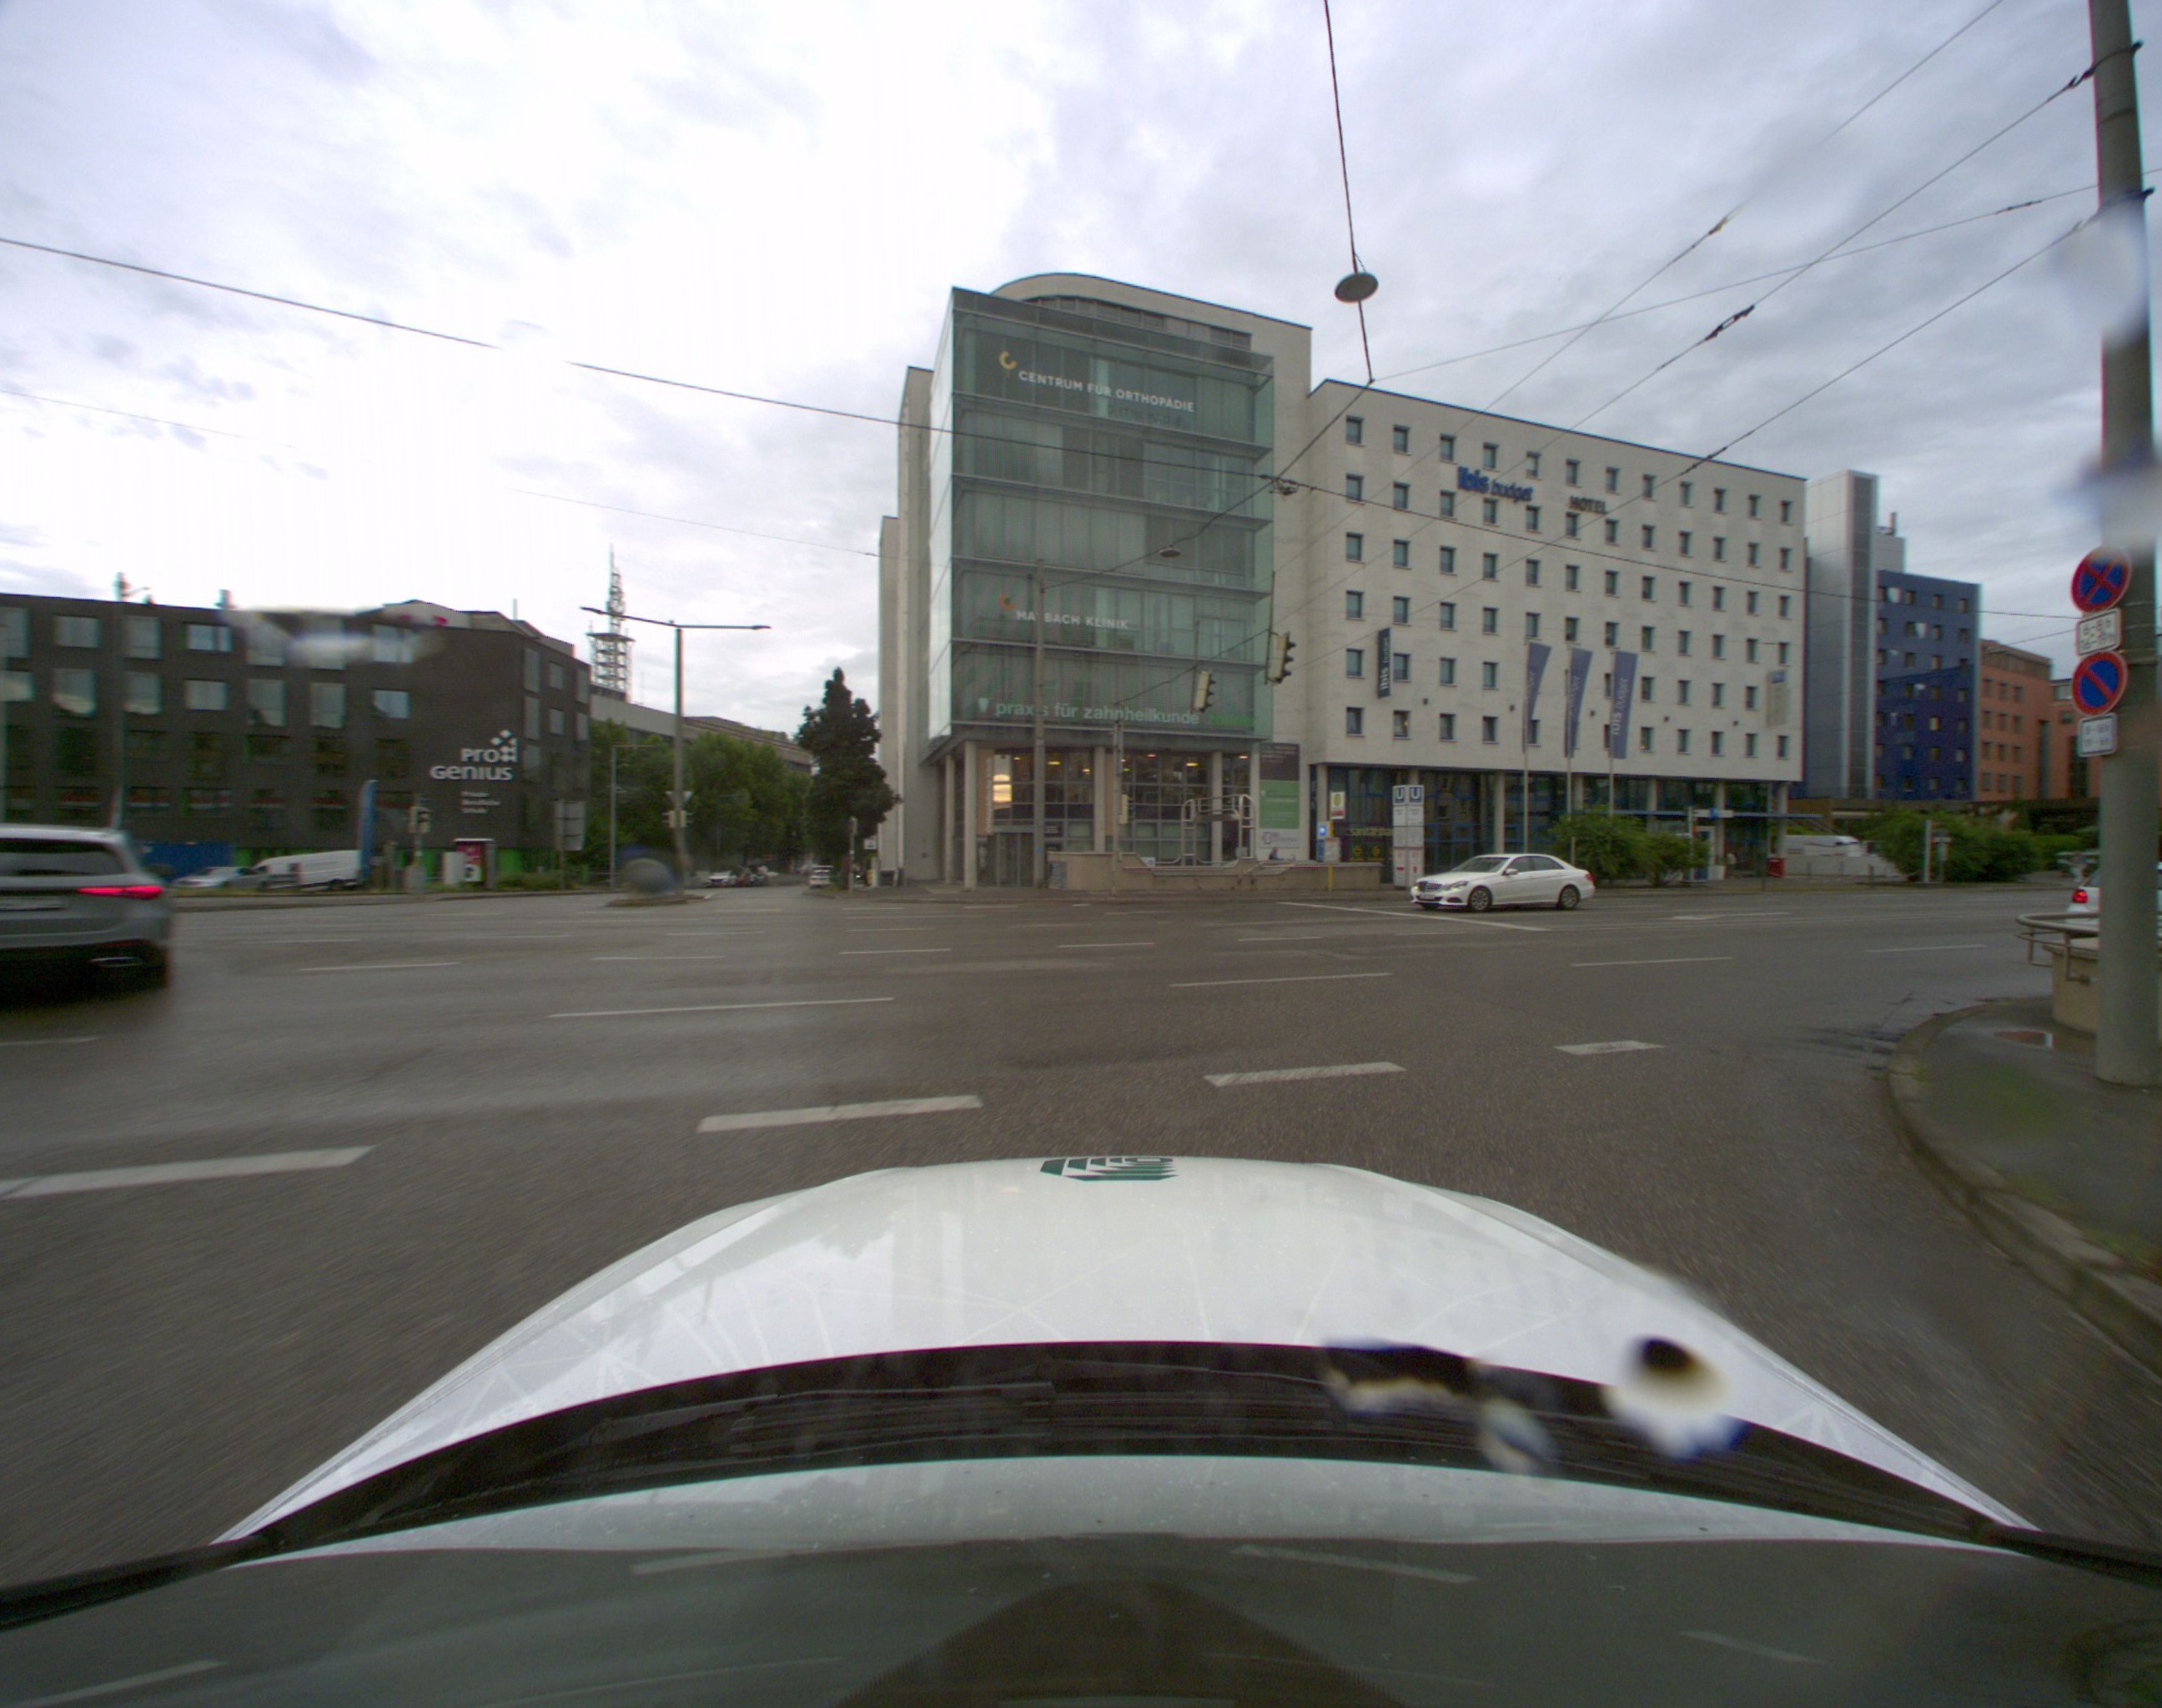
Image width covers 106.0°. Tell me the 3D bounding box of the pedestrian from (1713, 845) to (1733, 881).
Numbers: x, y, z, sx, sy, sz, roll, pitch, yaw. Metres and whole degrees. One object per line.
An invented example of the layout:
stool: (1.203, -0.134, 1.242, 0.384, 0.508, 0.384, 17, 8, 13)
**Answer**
pedestrian: (37.043, 0.515, 47.018, 0.805, 2.014, 0.809, -1, -3, 45)

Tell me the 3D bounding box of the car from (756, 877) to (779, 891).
car: (-37.992, 3.646, 98.686, 1.678, 1.594, 3.661, 2, -2, -8)

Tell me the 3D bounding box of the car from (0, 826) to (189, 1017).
car: (-10.846, 0.533, 8.252, 4.156, 1.632, 1.927, 1, 1, 35)

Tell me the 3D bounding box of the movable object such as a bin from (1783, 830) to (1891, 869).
movable object such as a bin: (56.698, -0.271, 61.234, 2.160, 2.628, 5.610, 2, -2, -17)

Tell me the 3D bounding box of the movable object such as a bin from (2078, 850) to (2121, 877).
movable object such as a bin: (58.168, 0.557, 46.520, 0.953, 1.491, 1.382, 3, -3, -27)

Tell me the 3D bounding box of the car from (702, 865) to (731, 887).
car: (-35.639, 2.129, 79.700, 1.998, 2.014, 3.976, 2, -2, -17)

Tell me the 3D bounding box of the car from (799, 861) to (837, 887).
car: (-19.010, 1.450, 58.753, 2.004, 1.717, 3.965, 3, -2, -27)

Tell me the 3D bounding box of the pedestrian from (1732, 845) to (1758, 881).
pedestrian: (38.409, 0.518, 47.107, 0.892, 2.014, 0.818, 1, -2, 12)

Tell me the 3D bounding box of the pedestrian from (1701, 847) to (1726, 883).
pedestrian: (35.980, 0.649, 46.332, 0.814, 2.014, 0.800, 2, -3, -16)

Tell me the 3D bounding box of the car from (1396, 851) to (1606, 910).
car: (10.631, 0.625, 20.617, 4.961, 1.387, 1.812, 0, 0, -19)

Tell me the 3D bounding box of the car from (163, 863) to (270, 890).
car: (-44.557, 1.187, 42.125, 1.798, 1.288, 3.981, 2, -2, -13)

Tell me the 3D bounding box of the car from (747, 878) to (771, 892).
car: (-37.424, 3.630, 94.770, 1.678, 1.594, 3.661, 2, -2, -8)

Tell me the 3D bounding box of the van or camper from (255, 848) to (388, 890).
van or camper: (-47.601, 0.980, 51.228, 5.344, 2.369, 2.722, 2, -2, -18)

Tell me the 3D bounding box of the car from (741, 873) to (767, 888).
car: (-36.351, 2.954, 90.664, 1.678, 1.594, 3.845, 2, -2, -8)

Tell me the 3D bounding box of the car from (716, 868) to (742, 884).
car: (-36.498, 2.332, 84.511, 1.680, 1.594, 3.841, 2, -2, -11)

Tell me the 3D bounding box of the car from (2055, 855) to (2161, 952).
car: (18.407, 0.779, 13.498, 3.778, 1.473, 1.666, 0, 1, -19)

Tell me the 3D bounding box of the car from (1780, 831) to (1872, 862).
car: (54.839, -0.508, 60.077, 1.891, 2.014, 4.700, 2, -2, -17)
